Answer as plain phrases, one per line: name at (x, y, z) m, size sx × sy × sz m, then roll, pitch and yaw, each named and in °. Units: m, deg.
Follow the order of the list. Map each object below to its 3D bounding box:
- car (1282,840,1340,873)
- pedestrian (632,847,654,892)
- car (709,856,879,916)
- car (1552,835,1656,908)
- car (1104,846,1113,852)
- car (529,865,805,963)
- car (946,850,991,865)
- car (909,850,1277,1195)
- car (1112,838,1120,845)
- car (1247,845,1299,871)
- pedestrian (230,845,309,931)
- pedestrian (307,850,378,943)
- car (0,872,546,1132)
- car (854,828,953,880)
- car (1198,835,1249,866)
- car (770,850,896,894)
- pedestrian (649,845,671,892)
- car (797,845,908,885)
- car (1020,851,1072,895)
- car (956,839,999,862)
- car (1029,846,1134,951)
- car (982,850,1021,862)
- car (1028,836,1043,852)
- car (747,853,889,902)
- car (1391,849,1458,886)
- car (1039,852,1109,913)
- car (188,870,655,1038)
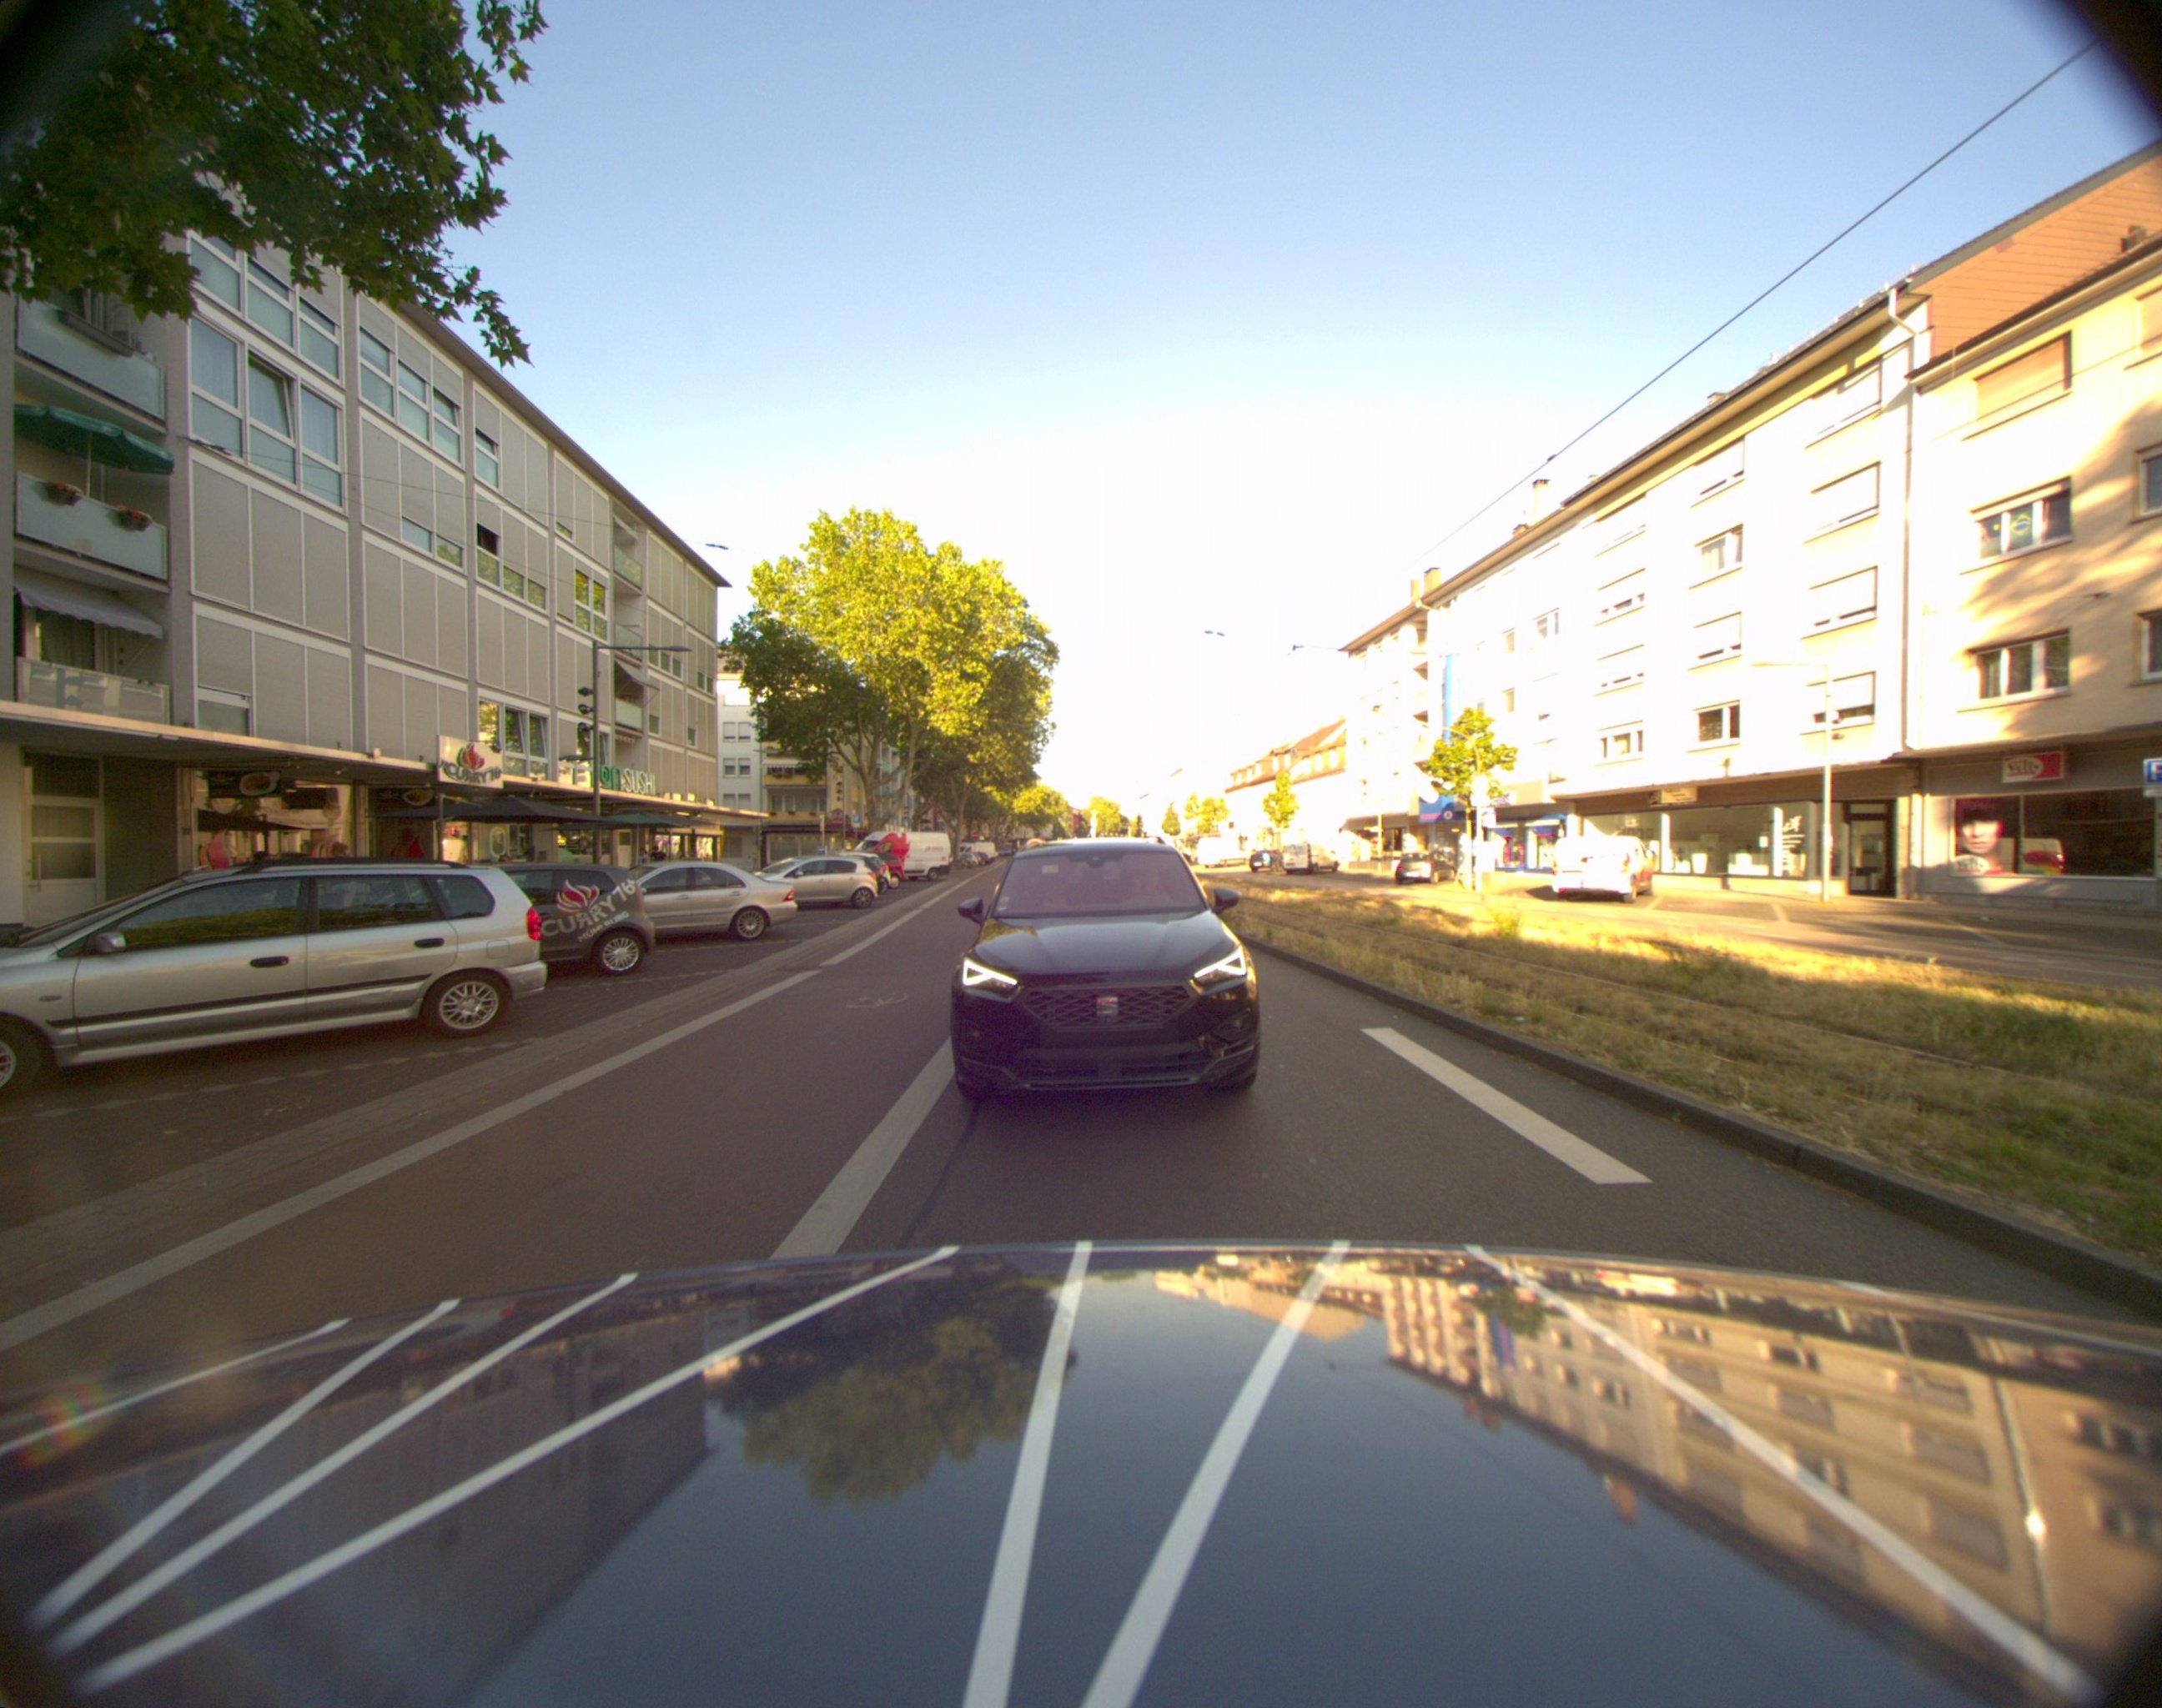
car at (14.545, 0.110, 47.857) m, size 1.853 × 1.927 × 4.513 m, roll -1°, pitch 1°, yaw 40°
pedestrian at (-16.088, 0.565, 27.925) m, size 0.537 × 1.630 × 0.478 m, roll 0°, pitch 1°, yaw -4°
car at (-7.636, 0.804, 20.448) m, size 3.950 × 1.420 × 1.555 m, roll 1°, pitch 1°, yaw -45°
car at (15.616, 0.450, 22.612) m, size 1.853 × 1.888 × 4.007 m, roll -1°, pitch 2°, yaw 44°
car at (6.531, -1.200, 181.765) m, size 1.846 × 1.571 × 4.449 m, roll 0°, pitch 1°, yaw -1°
car at (-7.124, 0.923, 13.392) m, size 1.592 × 1.393 × 3.950 m, roll 2°, pitch 1°, yaw 41°
car at (-10.768, 0.280, 72.915) m, size 1.778 × 1.396 × 3.943 m, roll 1°, pitch 1°, yaw 44°
car at (0.085, 0.841, 5.813) m, size 1.785 × 1.639 × 3.999 m, roll -2°, pitch 1°, yaw 1°
car at (9.848, -3.508, 214.463) m, size 1.999 × 1.783 × 3.998 m, roll 0°, pitch 1°, yaw -4°
car at (13.806, 0.242, 54.529) m, size 3.922 × 1.704 × 1.853 m, roll -2°, pitch 1°, yaw -45°
pedestrian at (-15.100, 0.613, 14.156) m, size 0.583 × 1.573 × 0.771 m, roll 0°, pitch 1°, yaw 2°
pedestrian at (-12.716, 0.709, 13.099) m, size 0.561 × 1.567 × 0.642 m, roll 0°, pitch 1°, yaw -5°
car at (-6.886, 0.974, 6.034) m, size 1.672 × 1.533 × 3.993 m, roll 2°, pitch 1°, yaw 38°
car at (-8.750, 0.013, 37.804) m, size 4.606 × 2.479 × 1.672 m, roll 0°, pitch 0°, yaw -44°
car at (12.928, -0.360, 68.496) m, size 1.922 × 2.599 × 6.601 m, roll -1°, pitch 1°, yaw 34°
car at (-8.875, 0.640, 27.260) m, size 3.948 × 1.421 × 1.672 m, roll 2°, pitch 2°, yaw -32°
pedestrian at (-15.522, 0.535, 28.002) m, size 0.545 × 1.710 × 0.457 m, roll 0°, pitch 1°, yaw -4°
car at (-9.178, 0.449, 30.564) m, size 3.948 × 1.421 × 1.672 m, roll 1°, pitch 2°, yaw -31°
car at (-1.246, 0.641, 28.629) m, size 1.729 × 1.443 × 4.227 m, roll -2°, pitch 1°, yaw -1°
car at (-11.566, -0.414, 85.107) m, size 1.973 × 2.454 × 4.605 m, roll 1°, pitch 1°, yaw 44°
car at (-0.013, 0.710, 14.358) m, size 1.646 × 1.646 × 3.999 m, roll -2°, pitch 1°, yaw -1°
car at (-8.544, 0.190, 82.242) m, size 1.778 × 1.326 × 3.943 m, roll 1°, pitch 1°, yaw 44°
car at (-9.331, -2.042, 156.450) m, size 2.660 × 2.989 × 7.131 m, roll -2°, pitch 1°, yaw -2°
car at (-8.313, 0.726, 24.113) m, size 3.949 × 1.420 × 1.672 m, roll 1°, pitch 1°, yaw -34°
car at (15.398, 0.565, 33.943) m, size 1.731 × 1.489 × 4.008 m, roll -1°, pitch 1°, yaw 40°
car at (-0.192, 0.727, 21.340) m, size 1.729 × 1.467 × 3.999 m, roll -2°, pitch 1°, yaw -1°
car at (-7.532, 0.965, 9.043) m, size 1.672 × 1.420 × 3.950 m, roll 2°, pitch 1°, yaw 38°
